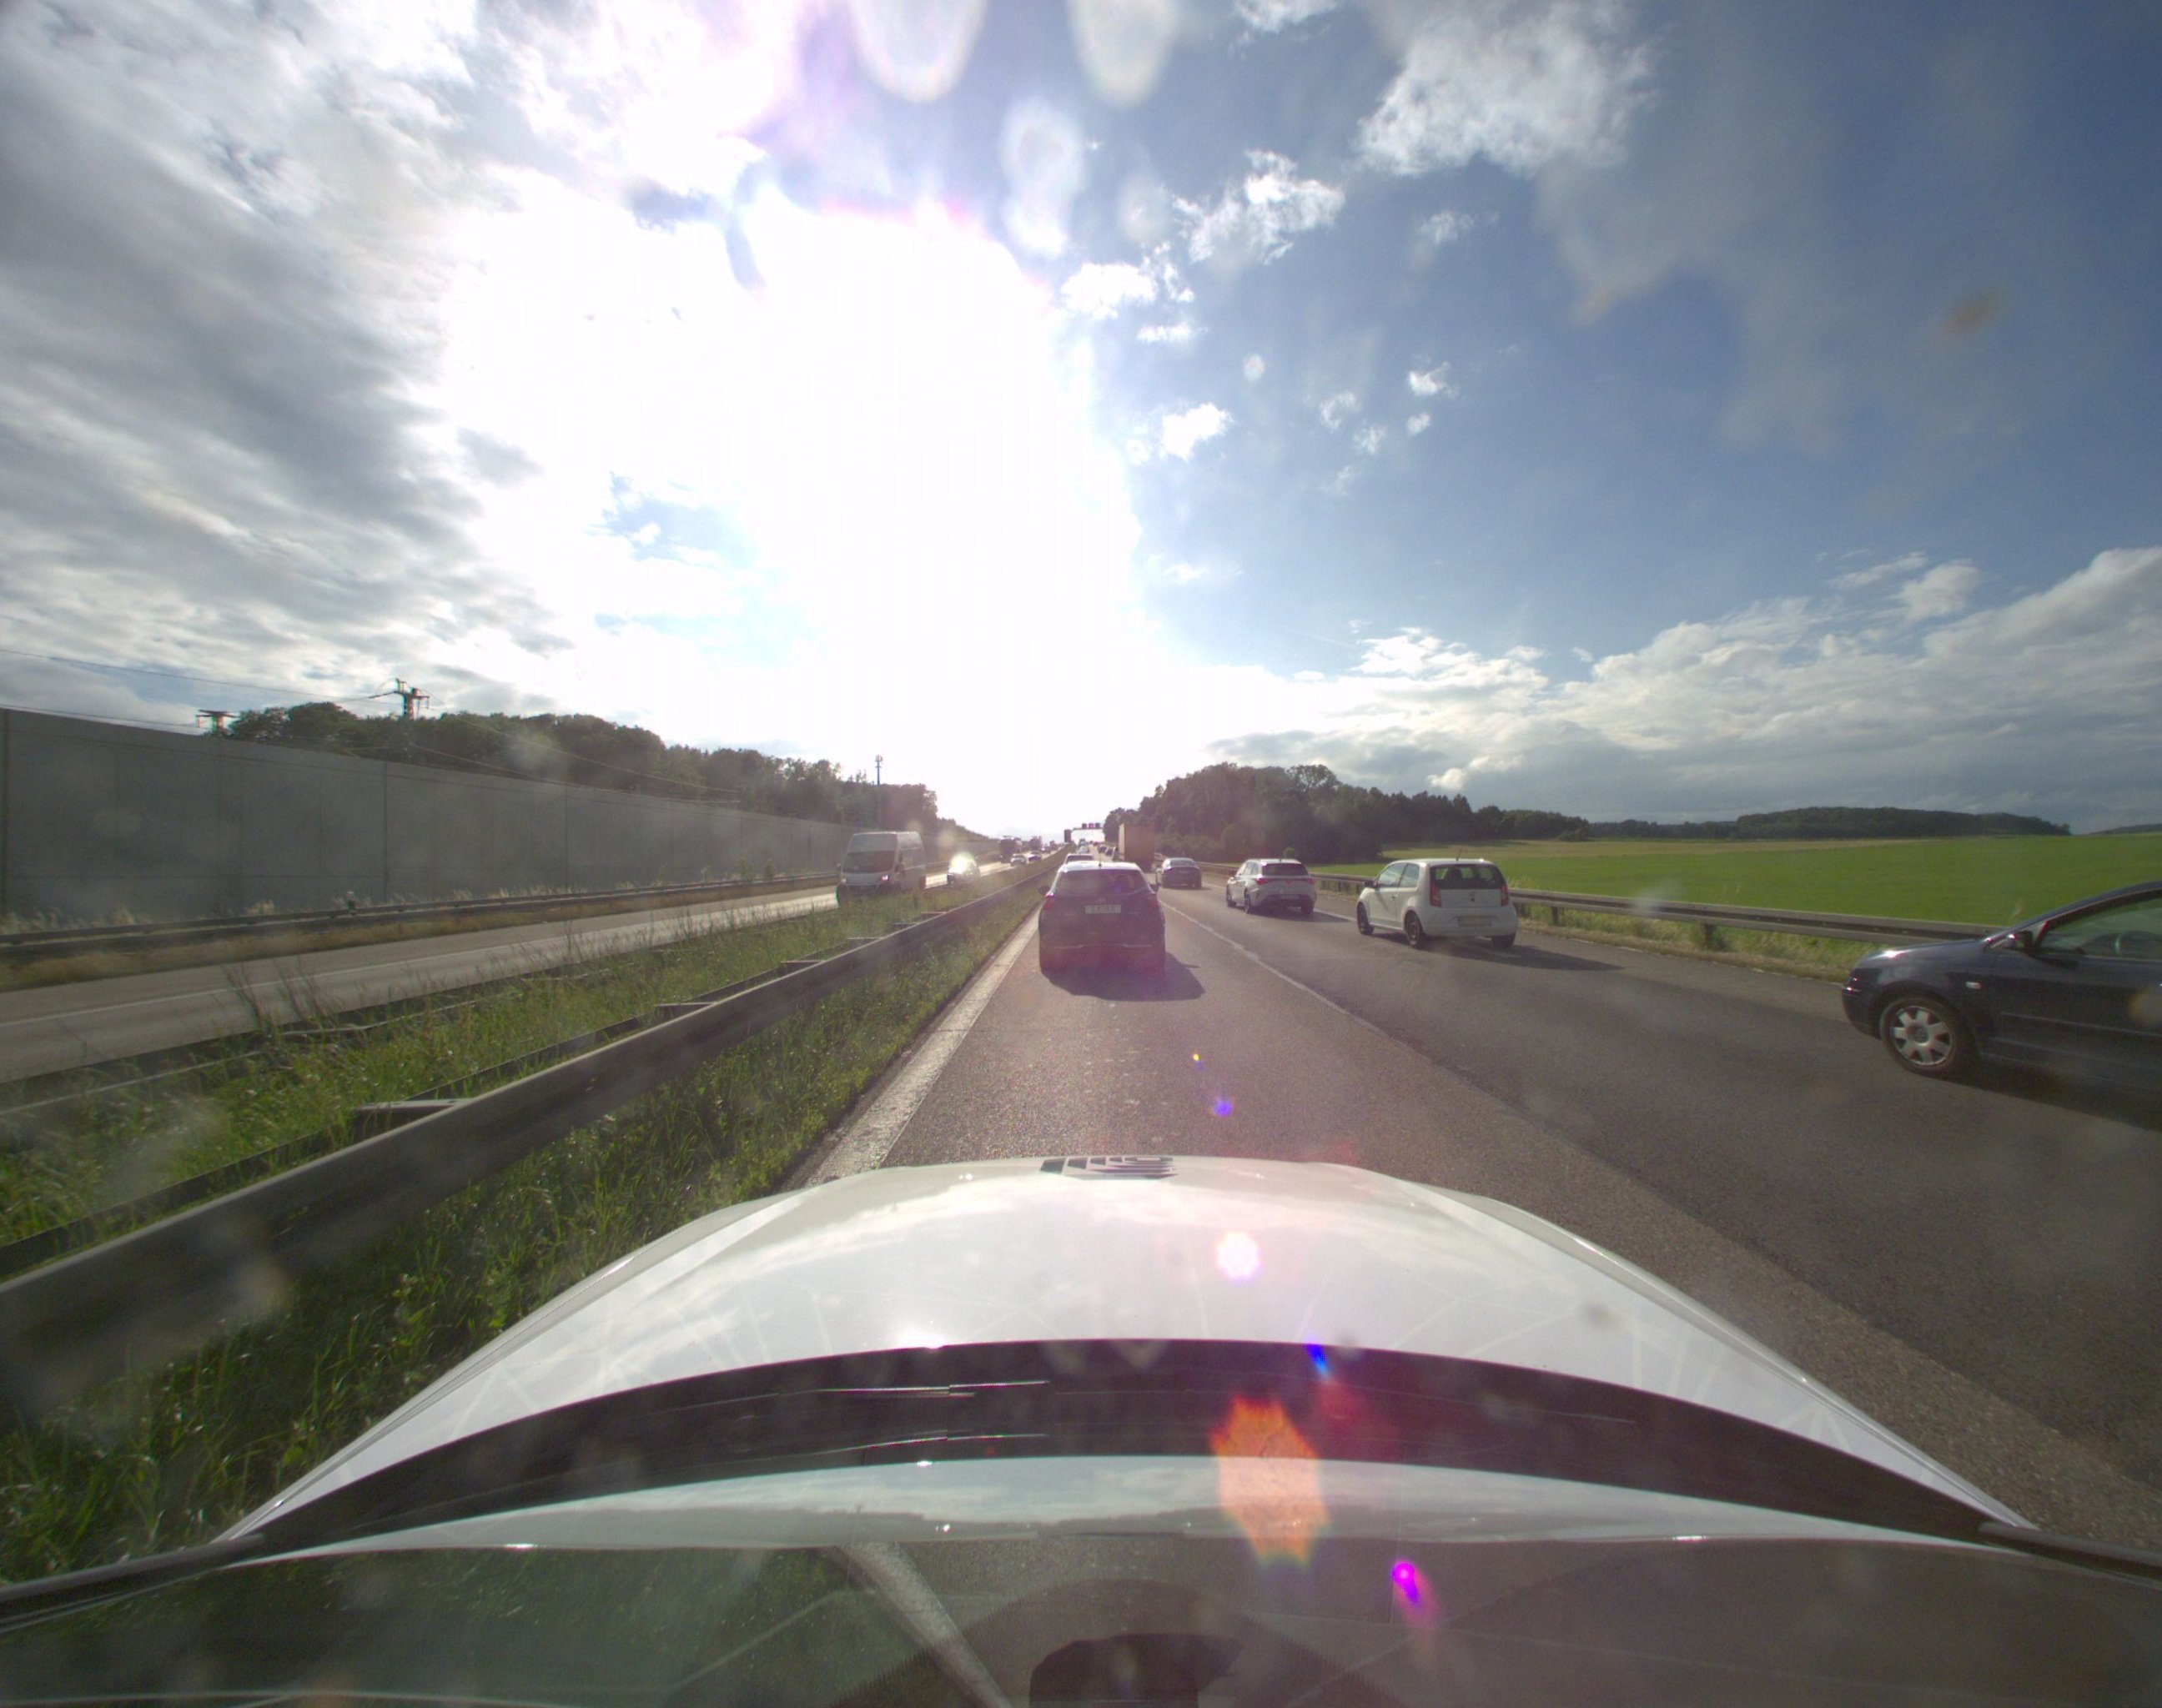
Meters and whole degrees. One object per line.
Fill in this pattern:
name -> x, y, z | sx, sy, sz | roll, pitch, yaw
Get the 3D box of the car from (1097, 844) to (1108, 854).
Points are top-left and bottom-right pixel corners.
car -> 4.450, -1.021, 168.818 | 1.987, 2.014, 3.998 | 0, -1, -1

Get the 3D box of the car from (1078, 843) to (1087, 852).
car -> 0.387, -1.455, 183.692 | 1.987, 2.014, 3.998 | 0, -1, -1

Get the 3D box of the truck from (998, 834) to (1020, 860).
truck -> -10.943, -1.015, 124.045 | 2.544, 3.798, 5.417 | -3, -1, 1

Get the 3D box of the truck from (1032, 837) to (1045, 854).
truck -> -10.636, -2.144, 202.405 | 2.745, 4.090, 6.952 | -1, -1, 0

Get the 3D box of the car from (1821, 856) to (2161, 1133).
car -> 6.483, 0.727, 4.284 | 1.705, 1.445, 3.772 | 0, -1, -1

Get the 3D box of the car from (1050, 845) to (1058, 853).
car -> -7.018, -1.175, 211.632 | 1.987, 1.883, 4.787 | -3, -1, 0

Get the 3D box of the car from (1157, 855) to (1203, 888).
car -> 4.669, 0.829, 38.812 | 1.741, 1.475, 4.147 | -1, -1, 1

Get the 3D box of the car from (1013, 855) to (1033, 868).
car -> -7.084, 0.886, 99.133 | 1.986, 1.486, 4.399 | 0, -1, 1

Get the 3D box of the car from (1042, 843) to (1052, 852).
car -> -7.448, -1.459, 178.155 | 1.853, 1.834, 4.281 | 0, -1, 1

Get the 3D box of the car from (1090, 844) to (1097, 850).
car -> 3.816, -2.127, 247.196 | 1.987, 2.014, 3.998 | 0, -1, -1

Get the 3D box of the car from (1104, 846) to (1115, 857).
car -> 5.253, -0.392, 151.018 | 1.987, 2.014, 3.998 | 0, -1, -1

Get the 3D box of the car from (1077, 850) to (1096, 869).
car -> 0.524, 0.608, 87.950 | 1.987, 2.014, 3.998 | 0, -1, -1

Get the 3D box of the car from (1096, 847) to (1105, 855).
car -> 4.645, -0.745, 196.924 | 1.987, 2.014, 3.998 | 0, -1, -1

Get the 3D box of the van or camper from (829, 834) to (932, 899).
van or camper -> -7.396, 0.448, 30.816 | 2.158, 2.205, 6.260 | 0, -1, 2

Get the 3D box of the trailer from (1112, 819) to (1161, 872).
trailer -> 4.907, -0.660, 74.720 | 3.538, 4.457, 12.718 | 0, -1, 0

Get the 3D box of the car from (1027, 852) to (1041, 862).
car -> -7.248, 0.423, 125.970 | 1.797, 1.516, 4.691 | 0, -1, 1

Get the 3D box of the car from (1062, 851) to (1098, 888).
car -> -0.001, 0.742, 40.265 | 1.668, 1.726, 3.597 | -1, -1, 1

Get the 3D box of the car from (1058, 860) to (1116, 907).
car -> 0.206, 0.876, 25.469 | 1.668, 1.367, 3.597 | -1, -1, 1

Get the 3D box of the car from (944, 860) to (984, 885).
car -> -7.557, 1.188, 52.911 | 1.836, 1.508, 4.552 | 0, -1, 2

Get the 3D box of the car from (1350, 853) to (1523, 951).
car -> 6.119, 0.747, 14.420 | 1.544, 1.495, 3.376 | 0, 0, -1

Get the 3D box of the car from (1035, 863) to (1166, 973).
car -> 0.306, 0.858, 12.354 | 1.703, 1.426, 3.379 | -1, -1, 2

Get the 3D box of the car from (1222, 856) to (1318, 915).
car -> 5.108, 0.815, 22.534 | 1.616, 1.445, 4.144 | 0, -1, -1

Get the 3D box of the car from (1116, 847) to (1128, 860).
car -> 5.637, -0.103, 112.587 | 1.661, 1.755, 3.328 | 0, -1, 2

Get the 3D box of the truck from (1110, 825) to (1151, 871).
truck -> 4.865, -0.554, 81.454 | 3.571, 4.380, 6.685 | 0, -1, -1
